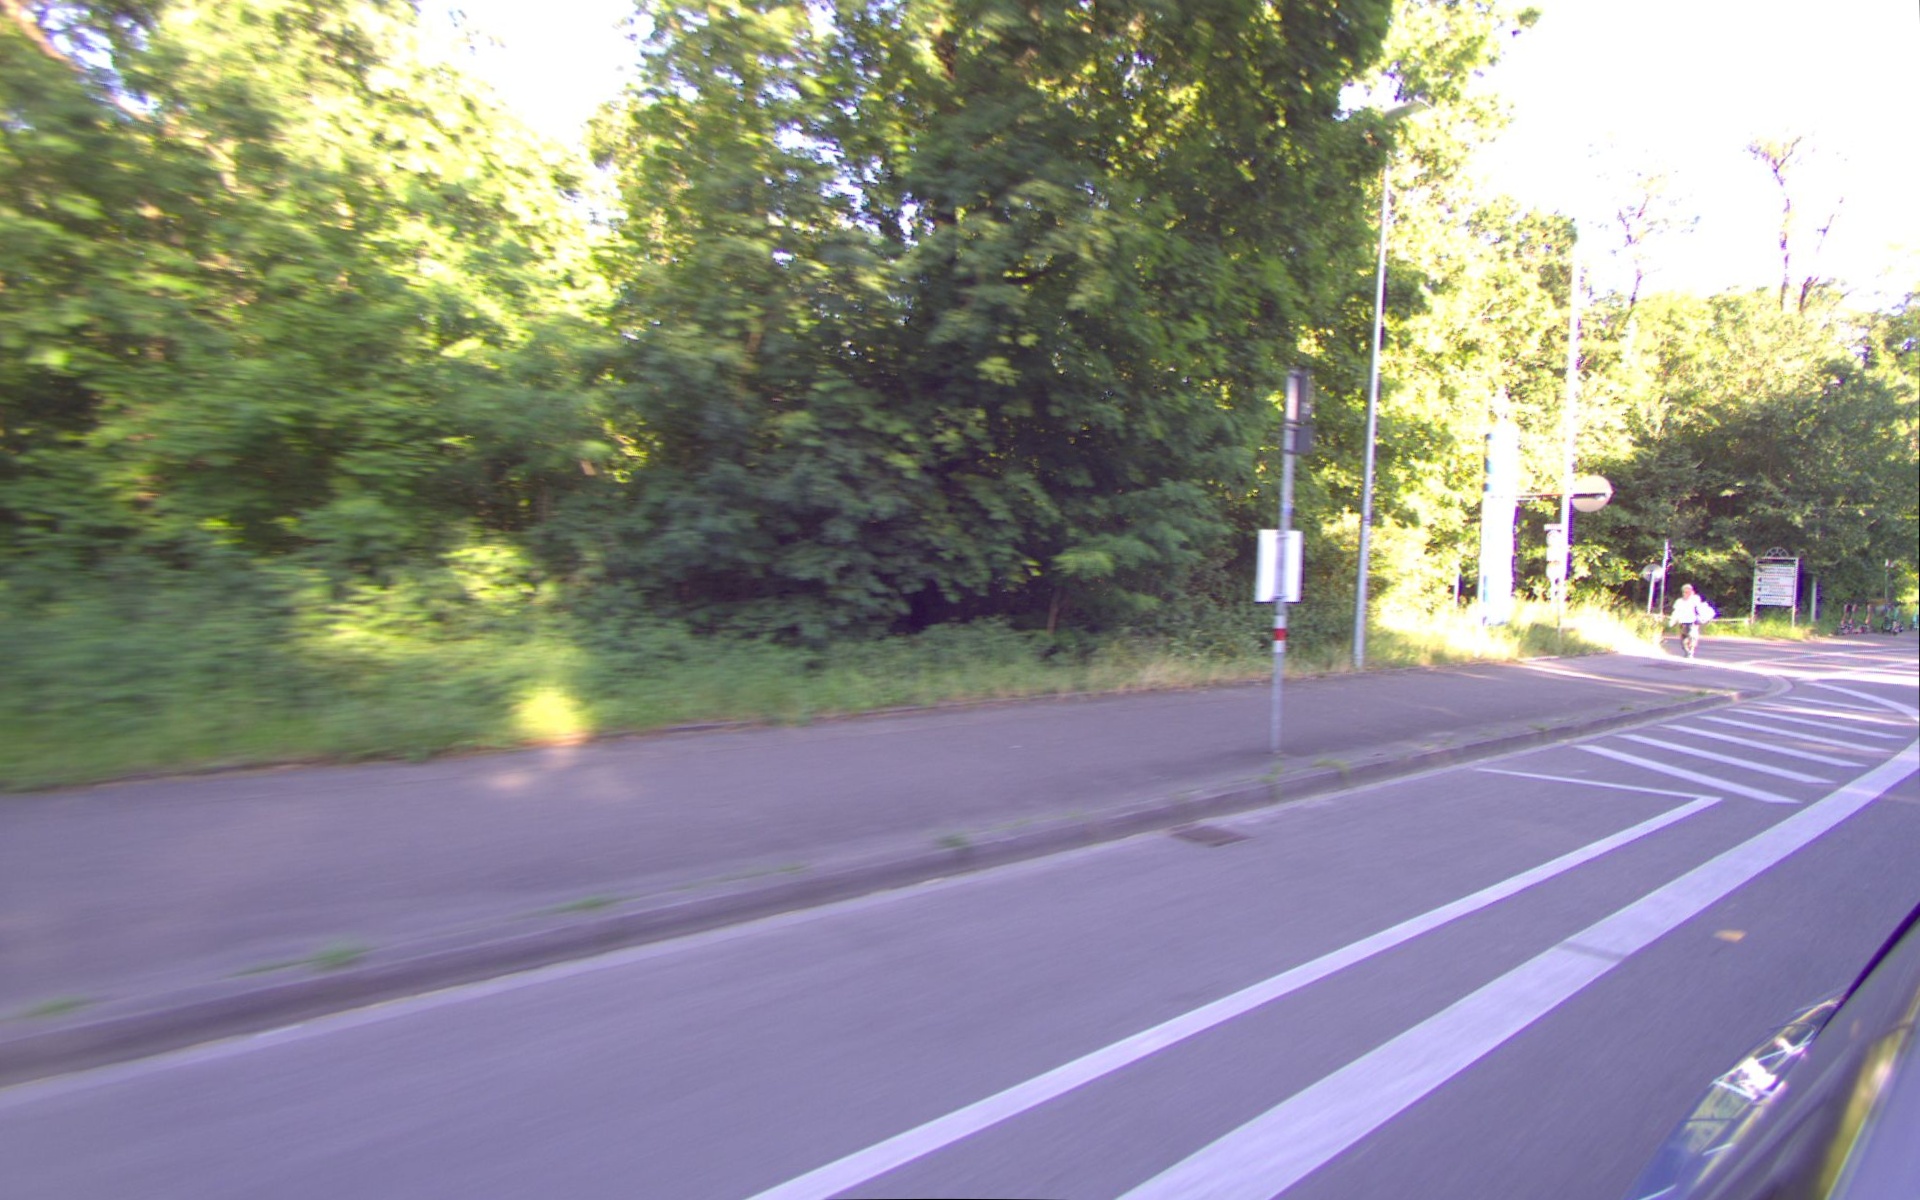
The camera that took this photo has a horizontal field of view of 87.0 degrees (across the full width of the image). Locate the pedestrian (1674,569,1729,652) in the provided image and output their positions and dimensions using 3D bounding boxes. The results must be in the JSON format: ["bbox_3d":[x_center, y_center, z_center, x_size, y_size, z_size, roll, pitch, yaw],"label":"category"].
[{"bbox_3d":[16.881,0.228,23.050,0.721,1.821,0.809,0,2,-40],"label":"pedestrian"}]

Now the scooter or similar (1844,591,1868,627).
[{"bbox_3d":[30.559,0.302,34.519,1.166,1.198,0.386,0,2,-40],"label":"scooter or similar"}]

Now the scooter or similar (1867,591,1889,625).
[{"bbox_3d":[32.854,0.271,36.219,1.083,1.198,0.386,0,2,-40],"label":"scooter or similar"}]

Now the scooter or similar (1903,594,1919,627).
[{"bbox_3d":[34.783,0.375,36.915,1.083,1.198,0.386,0,2,-40],"label":"scooter or similar"}]

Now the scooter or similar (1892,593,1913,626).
[{"bbox_3d":[35.651,0.346,38.284,1.083,1.198,0.386,0,2,-40],"label":"scooter or similar"}]

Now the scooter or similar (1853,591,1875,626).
[{"bbox_3d":[31.828,0.284,35.618,1.083,1.198,0.386,0,2,-40],"label":"scooter or similar"}]
